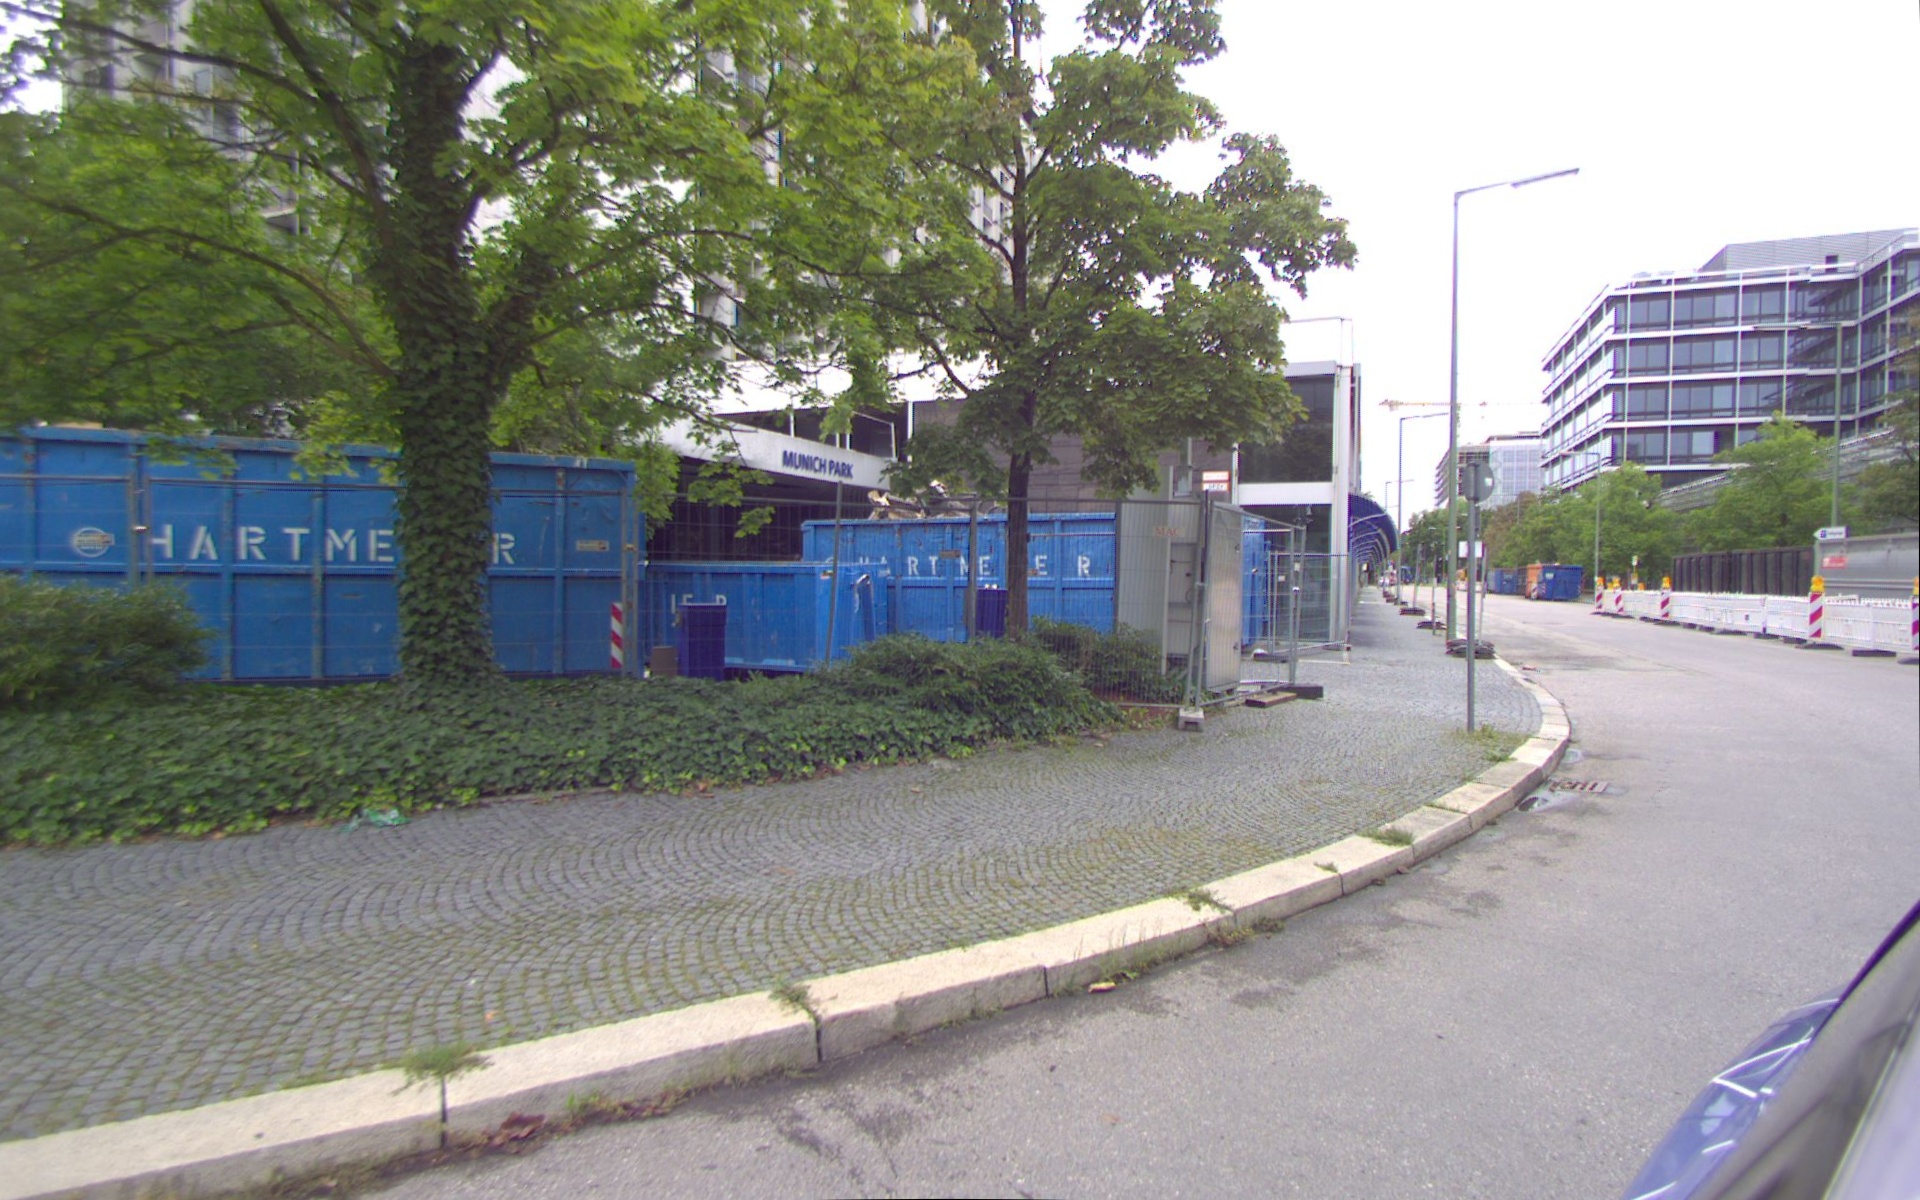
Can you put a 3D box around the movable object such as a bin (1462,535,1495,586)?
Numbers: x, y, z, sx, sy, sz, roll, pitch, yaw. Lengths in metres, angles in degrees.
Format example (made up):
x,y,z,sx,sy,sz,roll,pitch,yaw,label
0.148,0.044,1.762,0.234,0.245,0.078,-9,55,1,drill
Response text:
x,y,z,sx,sy,sz,roll,pitch,yaw,label
67.740,-5.116,132.345,3.210,6.400,8.268,1,2,24,movable object such as a bin

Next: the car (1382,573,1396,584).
x,y,z,sx,sy,sz,roll,pitch,yaw,label
67.991,-3.411,160.335,1.893,1.657,3.968,1,2,24,car

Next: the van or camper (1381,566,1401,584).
x,y,z,sx,sy,sz,roll,pitch,yaw,label
70.673,-4.140,165.955,2.642,2.801,6.856,1,2,25,van or camper
